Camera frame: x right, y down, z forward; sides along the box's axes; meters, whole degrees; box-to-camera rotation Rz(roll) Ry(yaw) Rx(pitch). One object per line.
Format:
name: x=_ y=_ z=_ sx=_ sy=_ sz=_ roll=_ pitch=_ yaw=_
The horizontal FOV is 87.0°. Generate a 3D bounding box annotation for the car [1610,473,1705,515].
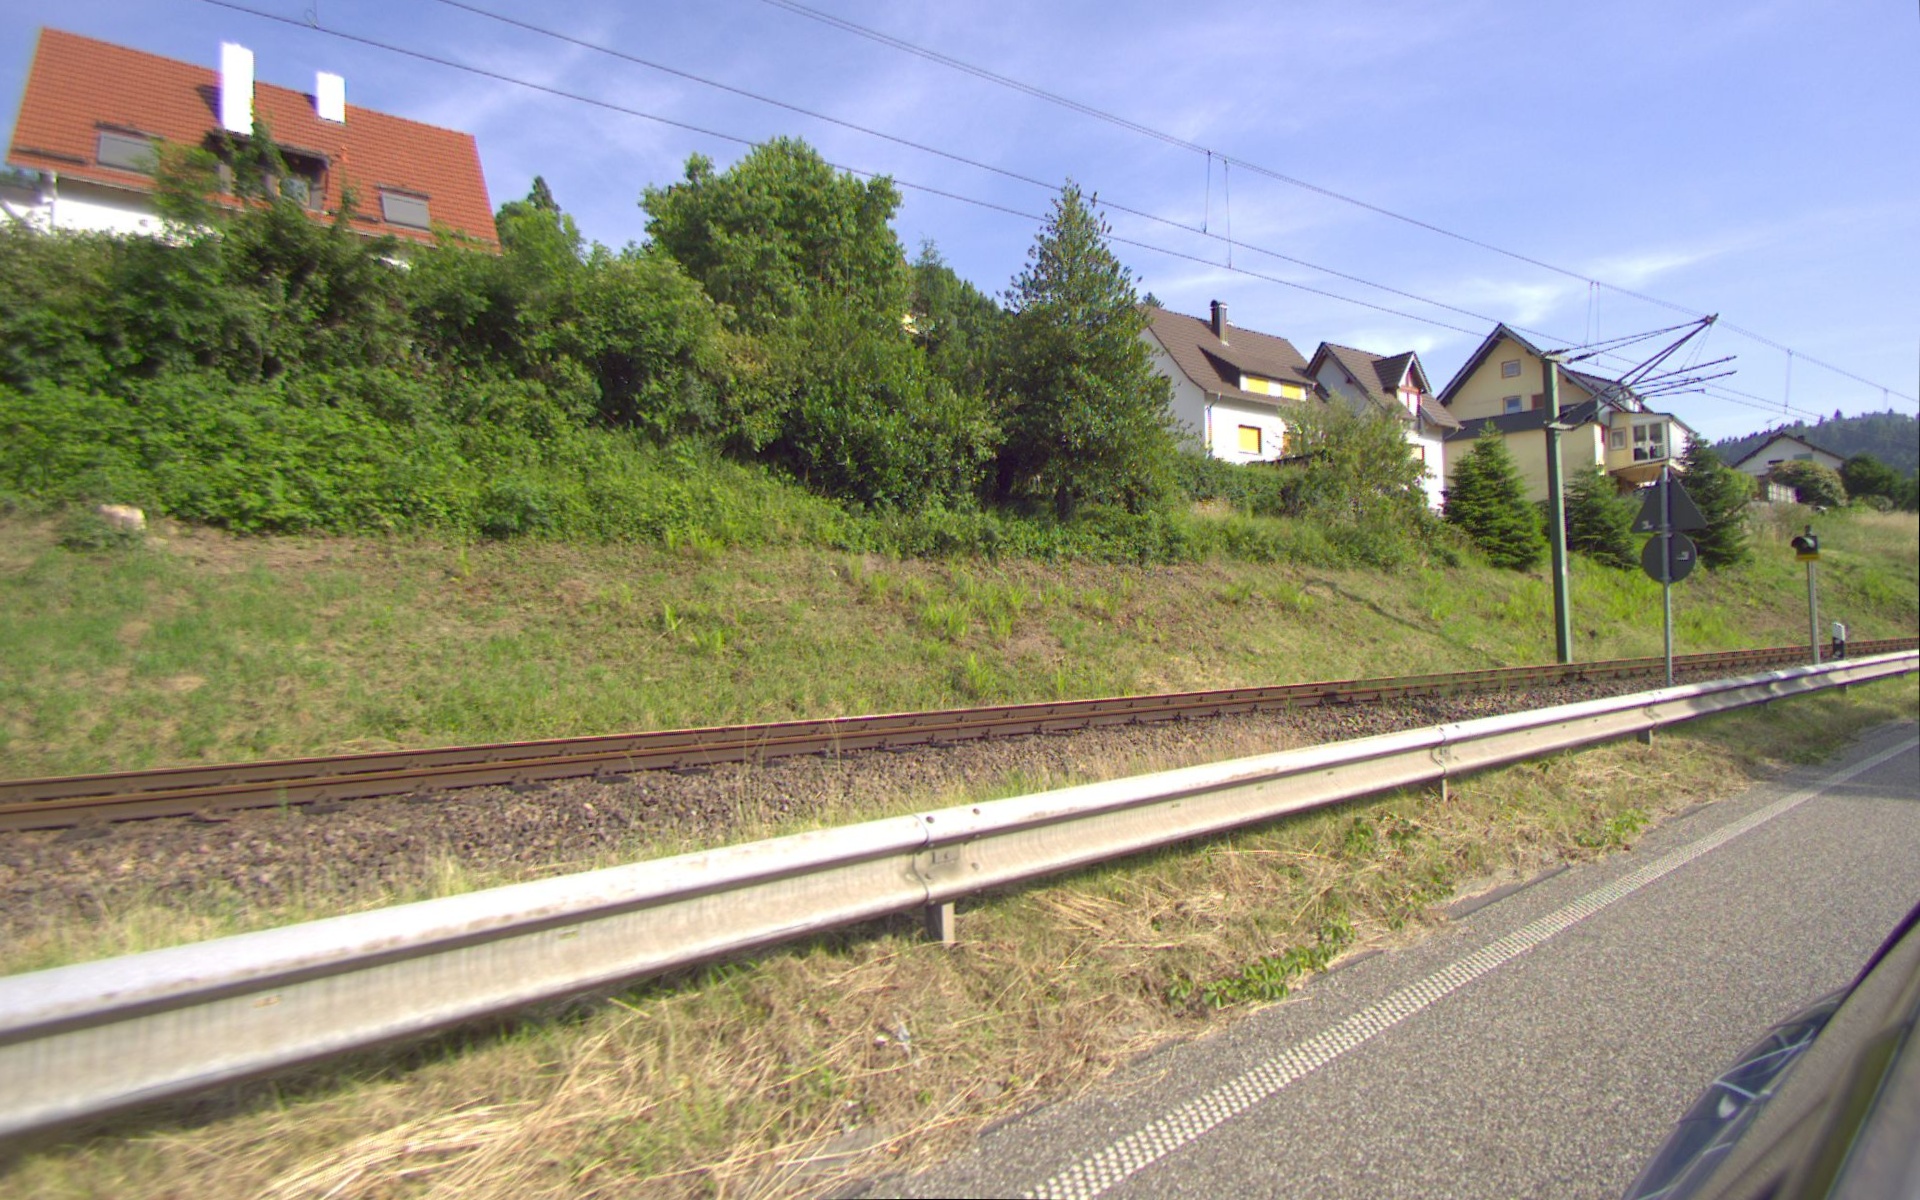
car: x=37.054 y=-5.599 z=53.800 sx=1.722 sy=1.560 sz=3.746 roll=-2 pitch=-3 yaw=-40
